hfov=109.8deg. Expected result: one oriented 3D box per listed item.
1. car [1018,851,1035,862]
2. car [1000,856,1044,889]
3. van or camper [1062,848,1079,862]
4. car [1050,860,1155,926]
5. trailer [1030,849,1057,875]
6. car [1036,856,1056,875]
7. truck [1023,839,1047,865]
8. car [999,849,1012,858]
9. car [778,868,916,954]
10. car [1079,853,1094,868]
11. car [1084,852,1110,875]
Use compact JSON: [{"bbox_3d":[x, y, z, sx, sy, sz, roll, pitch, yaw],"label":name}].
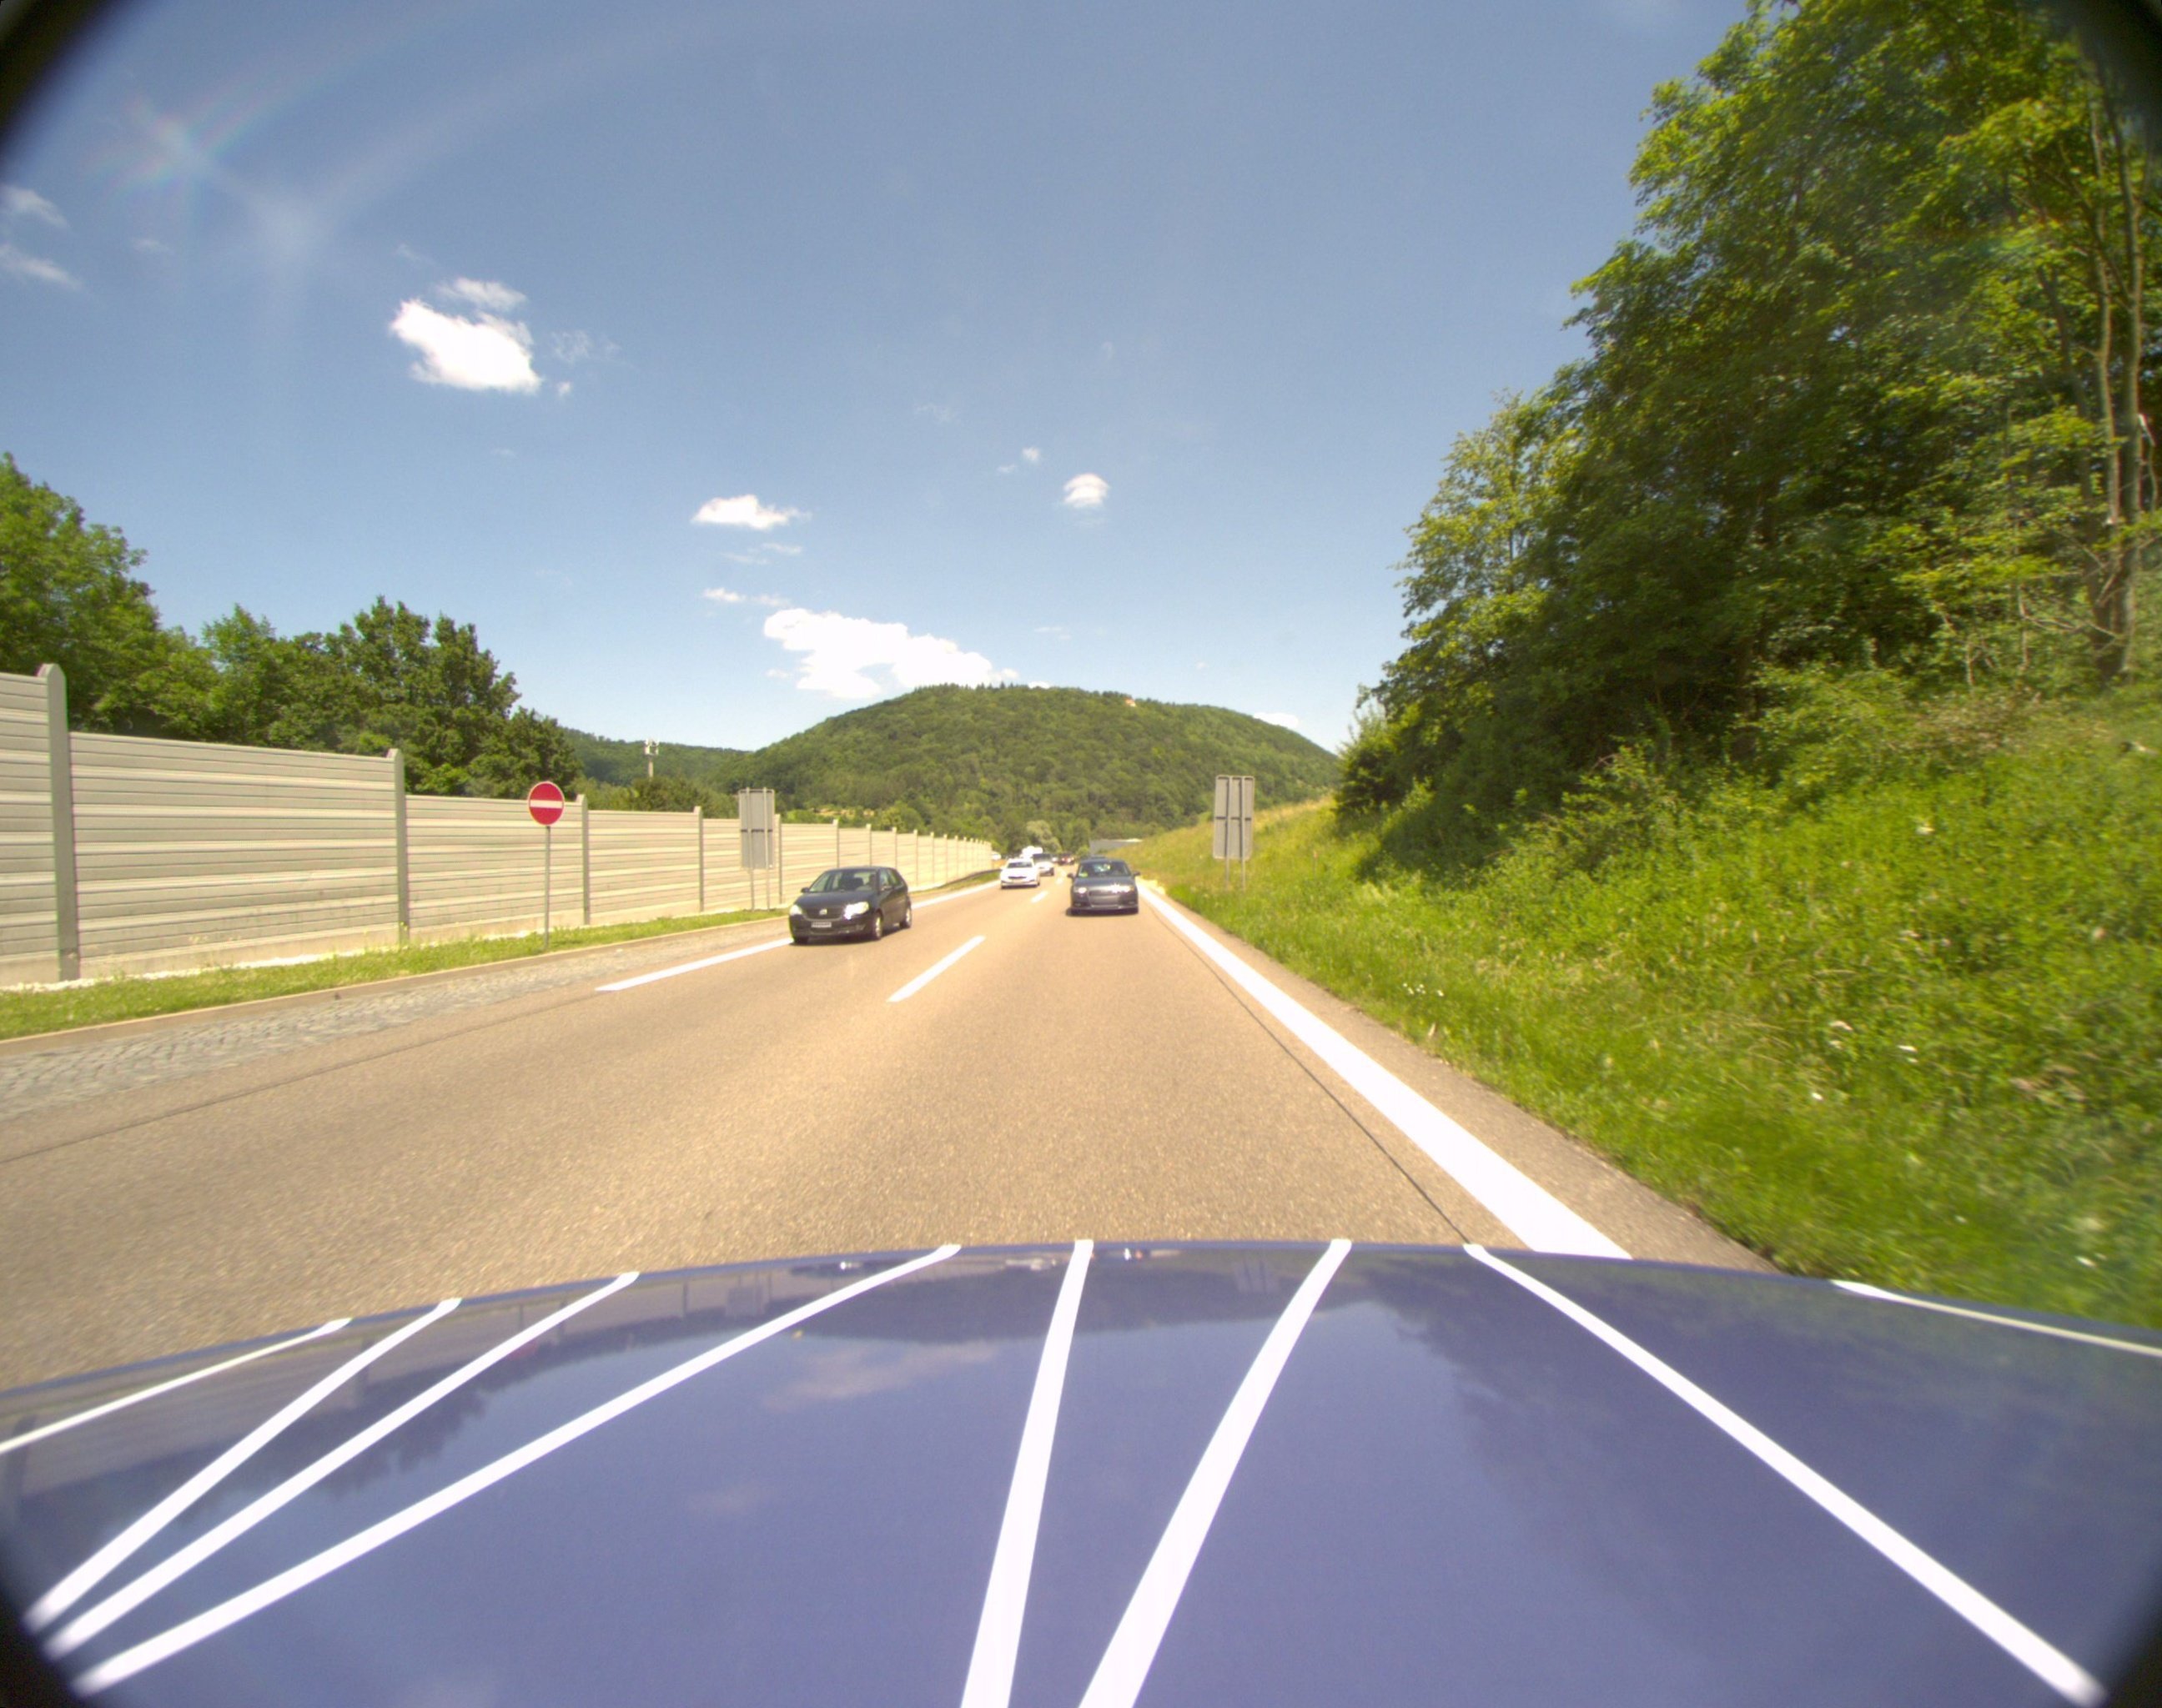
[{"bbox_3d":[-8.669,0.352,119.776,1.700,1.523,3.675,-5,1,-18],"label":"car"},{"bbox_3d":[-2.979,0.911,39.018,1.907,1.422,3.721,-2,1,0],"label":"car"},{"bbox_3d":[-1.435,0.128,102.372,1.818,1.855,3.611,-3,1,-6],"label":"van or camper"},{"bbox_3d":[0.413,0.888,18.987,1.757,1.382,4.051,-3,0,-11],"label":"car"},{"bbox_3d":[-3.073,0.618,61.990,1.999,1.958,3.997,1,1,-5],"label":"trailer"},{"bbox_3d":[-2.655,0.848,58.204,1.489,1.375,3.737,-1,0,-2],"label":"car"},{"bbox_3d":[-6.006,-0.301,99.079,2.603,3.089,6.854,-5,1,-6],"label":"truck"},{"bbox_3d":[-17.142,-0.158,172.890,2.001,2.002,3.993,-3,1,-19],"label":"car"},{"bbox_3d":[-4.650,1.064,15.679,1.696,1.414,3.837,-2,0,-1],"label":"car"},{"bbox_3d":[0.552,0.607,75.181,1.287,1.306,3.451,-2,1,-2],"label":"car"},{"bbox_3d":[1.127,0.606,52.092,1.695,1.422,3.463,-2,0,2],"label":"car"}]
